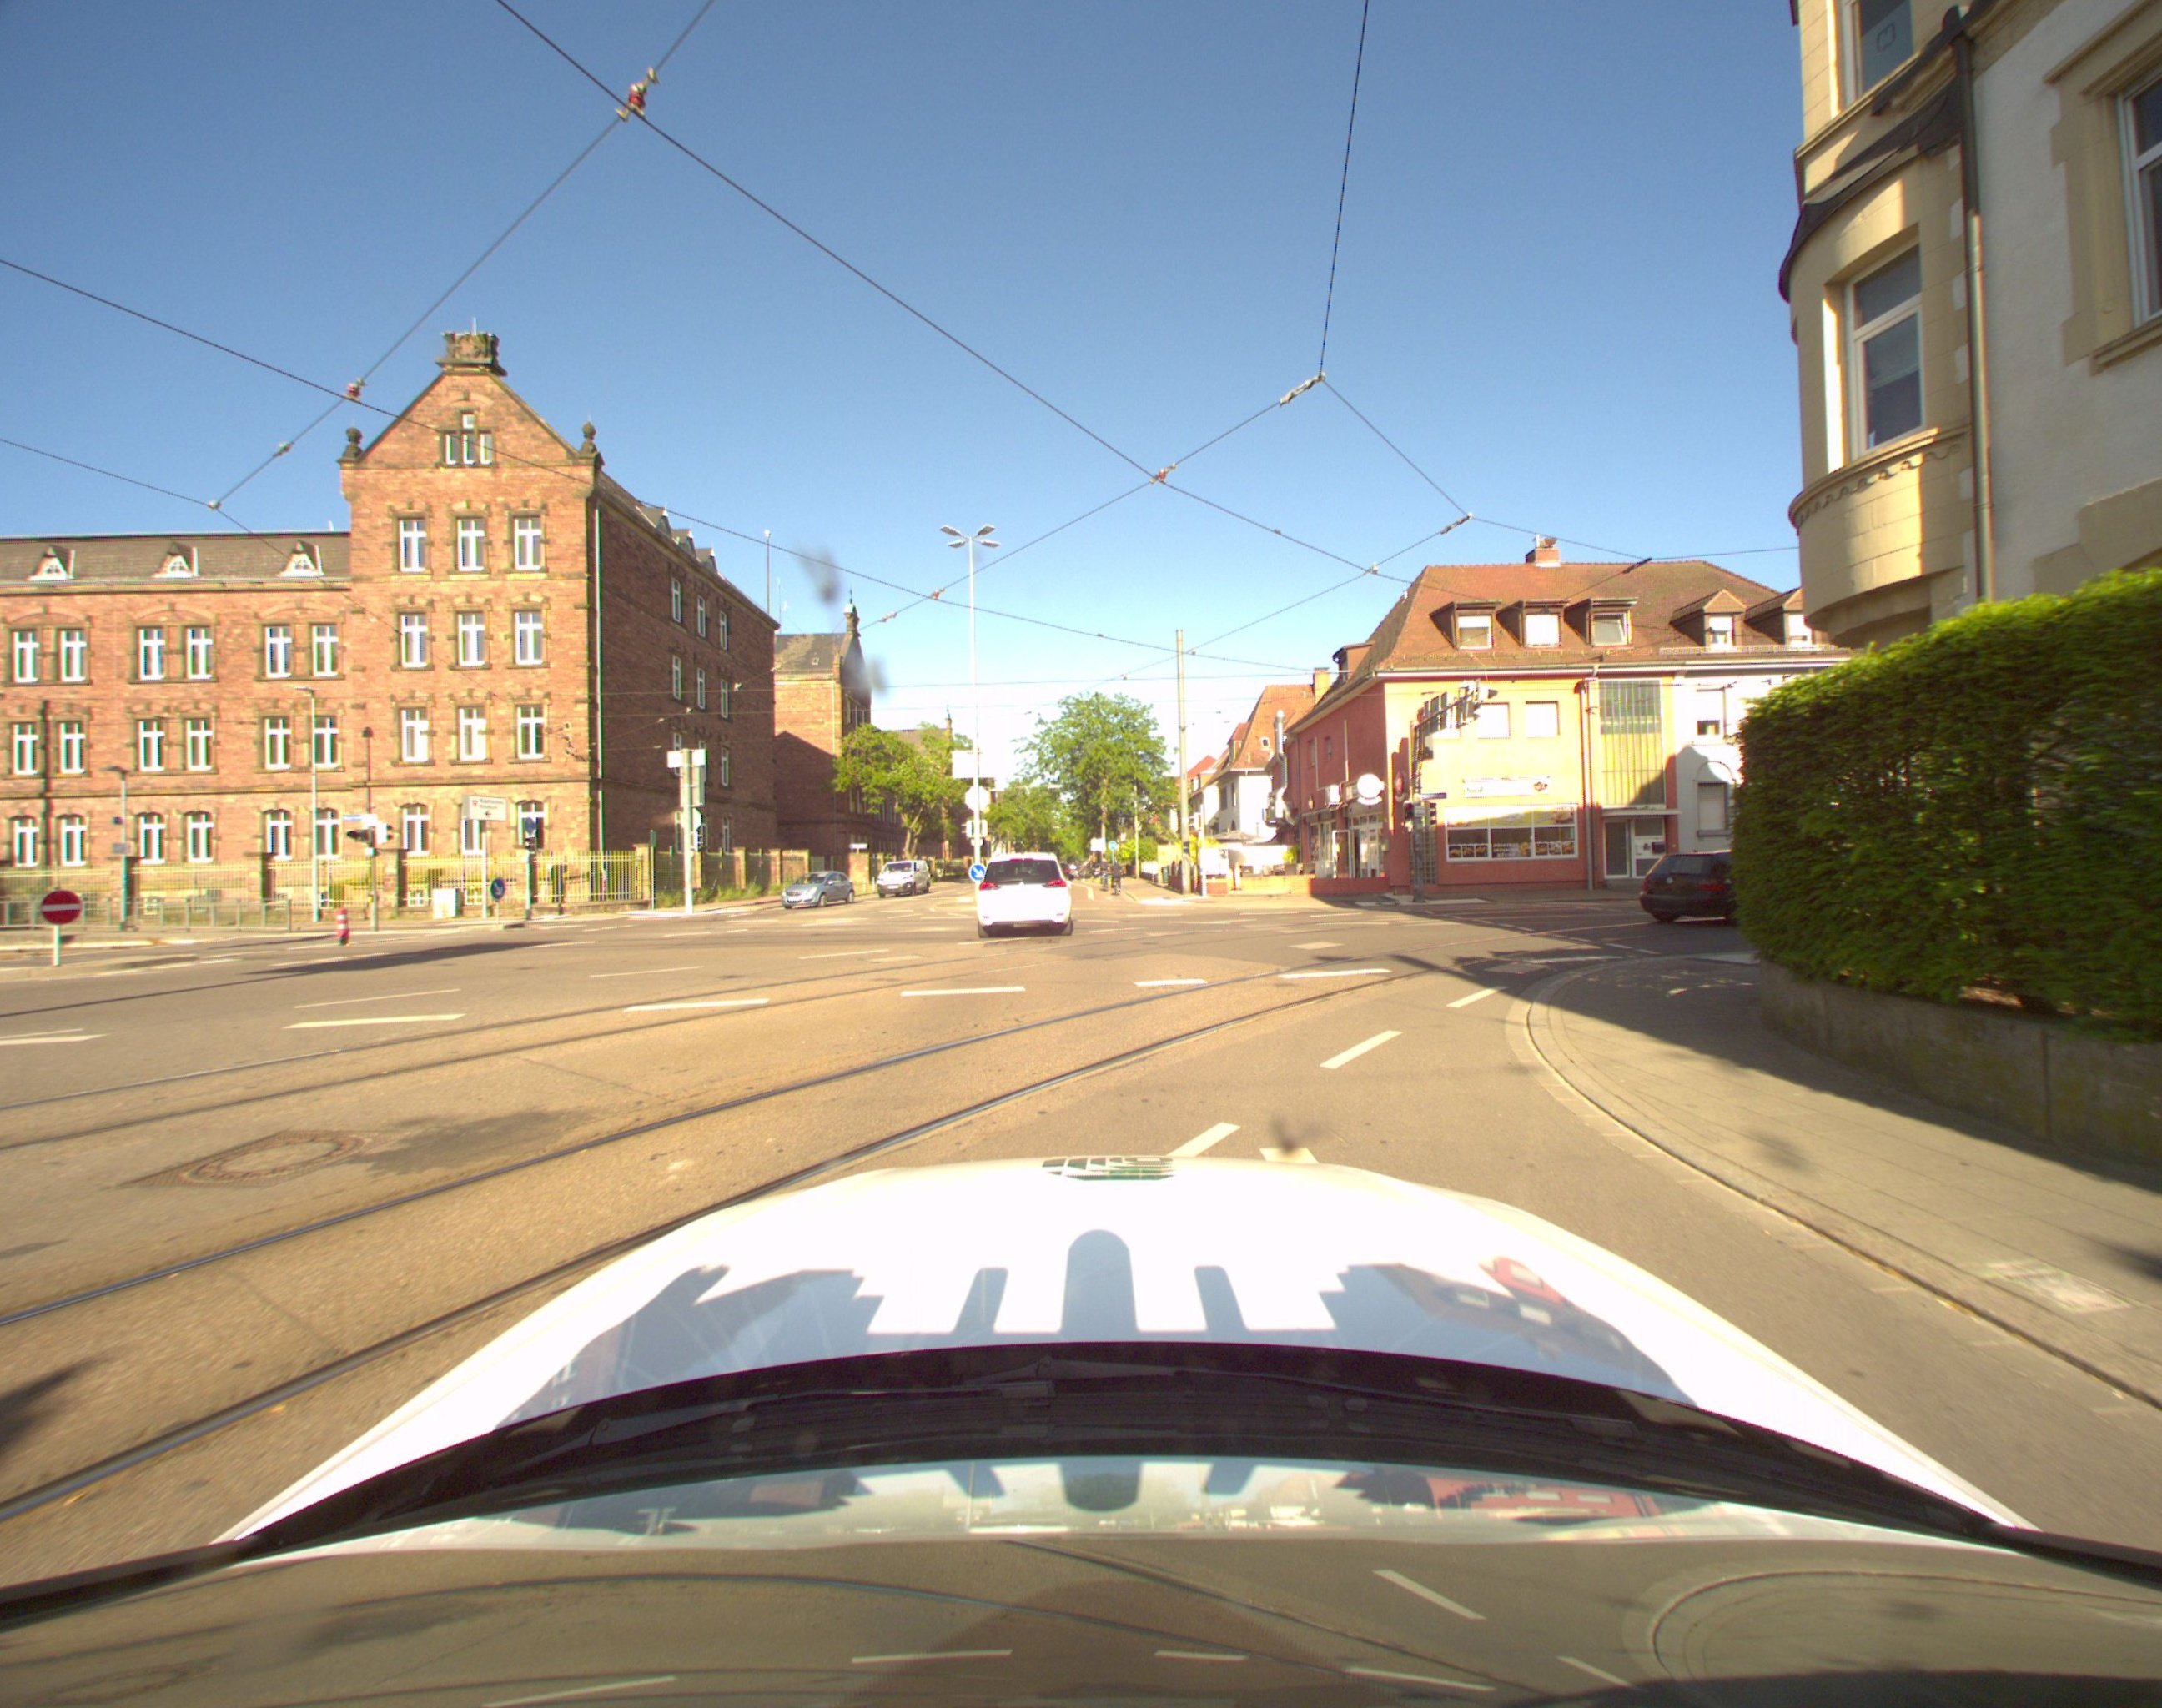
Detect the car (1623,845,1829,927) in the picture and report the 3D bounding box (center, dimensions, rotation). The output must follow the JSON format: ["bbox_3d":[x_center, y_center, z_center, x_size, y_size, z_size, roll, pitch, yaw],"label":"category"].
[{"bbox_3d":[12.478,0.559,15.714,4.017,1.403,1.705,-1,-1,-30],"label":"car"}]

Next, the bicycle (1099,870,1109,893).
[{"bbox_3d":[1.258,1.455,44.151,0.469,1.189,1.996,-1,0,1],"label":"bicycle"}]

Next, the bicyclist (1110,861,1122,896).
[{"bbox_3d":[1.655,1.169,38.900,0.552,1.617,0.686,-1,0,0],"label":"bicyclist"}]

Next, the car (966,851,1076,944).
[{"bbox_3d":[-1.121,0.803,17.132,1.957,1.665,4.248,2,0,0],"label":"car"}]

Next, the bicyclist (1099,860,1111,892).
[{"bbox_3d":[1.301,1.179,43.969,0.606,1.656,0.795,-1,0,0],"label":"bicyclist"}]

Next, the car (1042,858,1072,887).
[{"bbox_3d":[-1.745,1.268,57.715,1.987,1.849,4.244,2,0,-4],"label":"car"}]

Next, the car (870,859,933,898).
[{"bbox_3d":[-9.601,1.286,44.043,2.151,1.929,5.302,-2,-1,1],"label":"car"}]

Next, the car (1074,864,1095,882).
[{"bbox_3d":[0.349,1.931,82.322,1.984,1.665,4.125,2,0,1],"label":"car"}]

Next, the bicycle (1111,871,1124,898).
[{"bbox_3d":[1.713,1.418,38.558,0.556,1.189,1.996,-1,0,0],"label":"bicycle"}]

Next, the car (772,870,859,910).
[{"bbox_3d":[-10.965,1.455,33.916,1.726,1.443,4.125,-2,-1,9],"label":"car"}]
